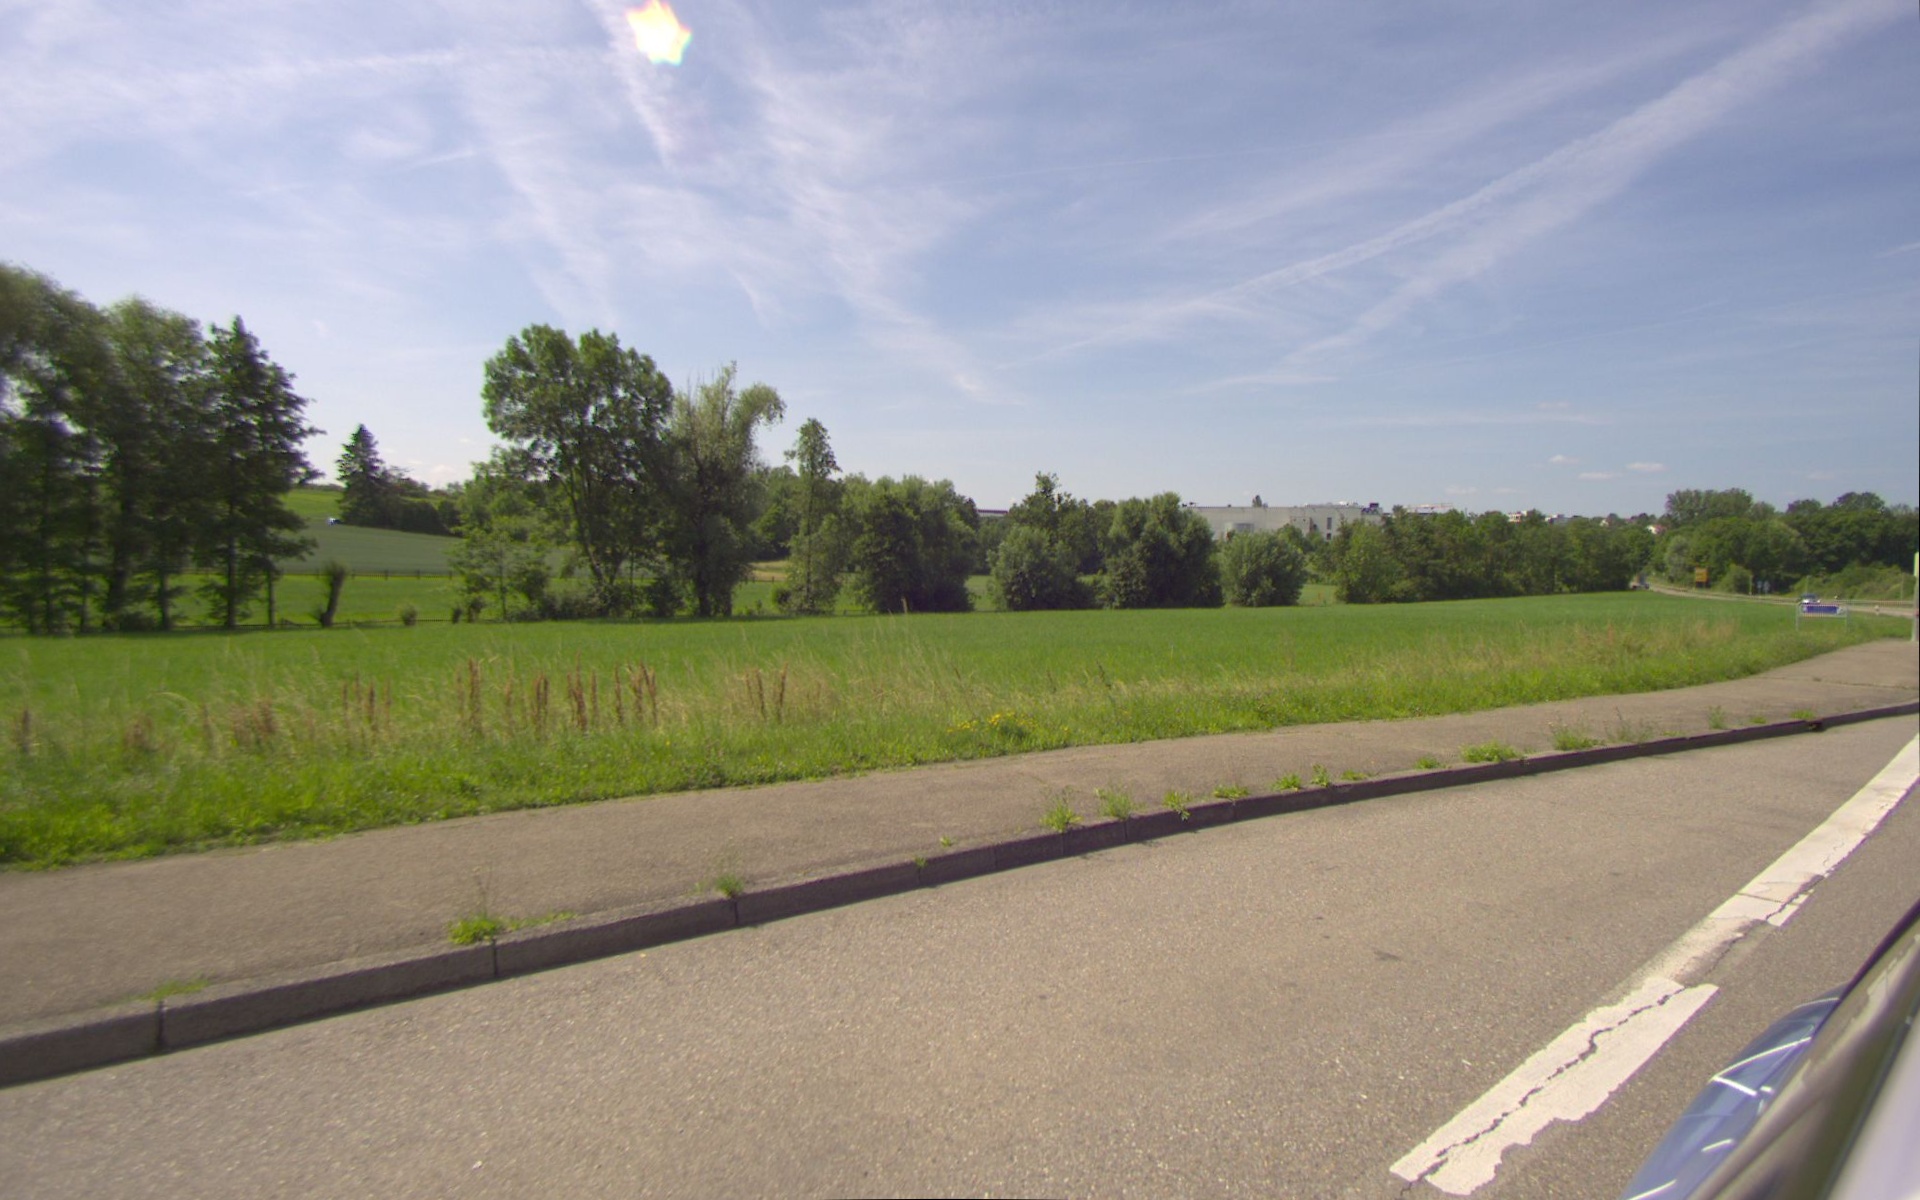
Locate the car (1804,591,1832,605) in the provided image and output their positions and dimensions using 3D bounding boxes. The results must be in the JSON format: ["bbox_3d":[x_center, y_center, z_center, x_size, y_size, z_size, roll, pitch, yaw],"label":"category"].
[{"bbox_3d":[105.907,-0.251,125.006,1.984,1.605,3.956,0,0,31],"label":"car"}]
